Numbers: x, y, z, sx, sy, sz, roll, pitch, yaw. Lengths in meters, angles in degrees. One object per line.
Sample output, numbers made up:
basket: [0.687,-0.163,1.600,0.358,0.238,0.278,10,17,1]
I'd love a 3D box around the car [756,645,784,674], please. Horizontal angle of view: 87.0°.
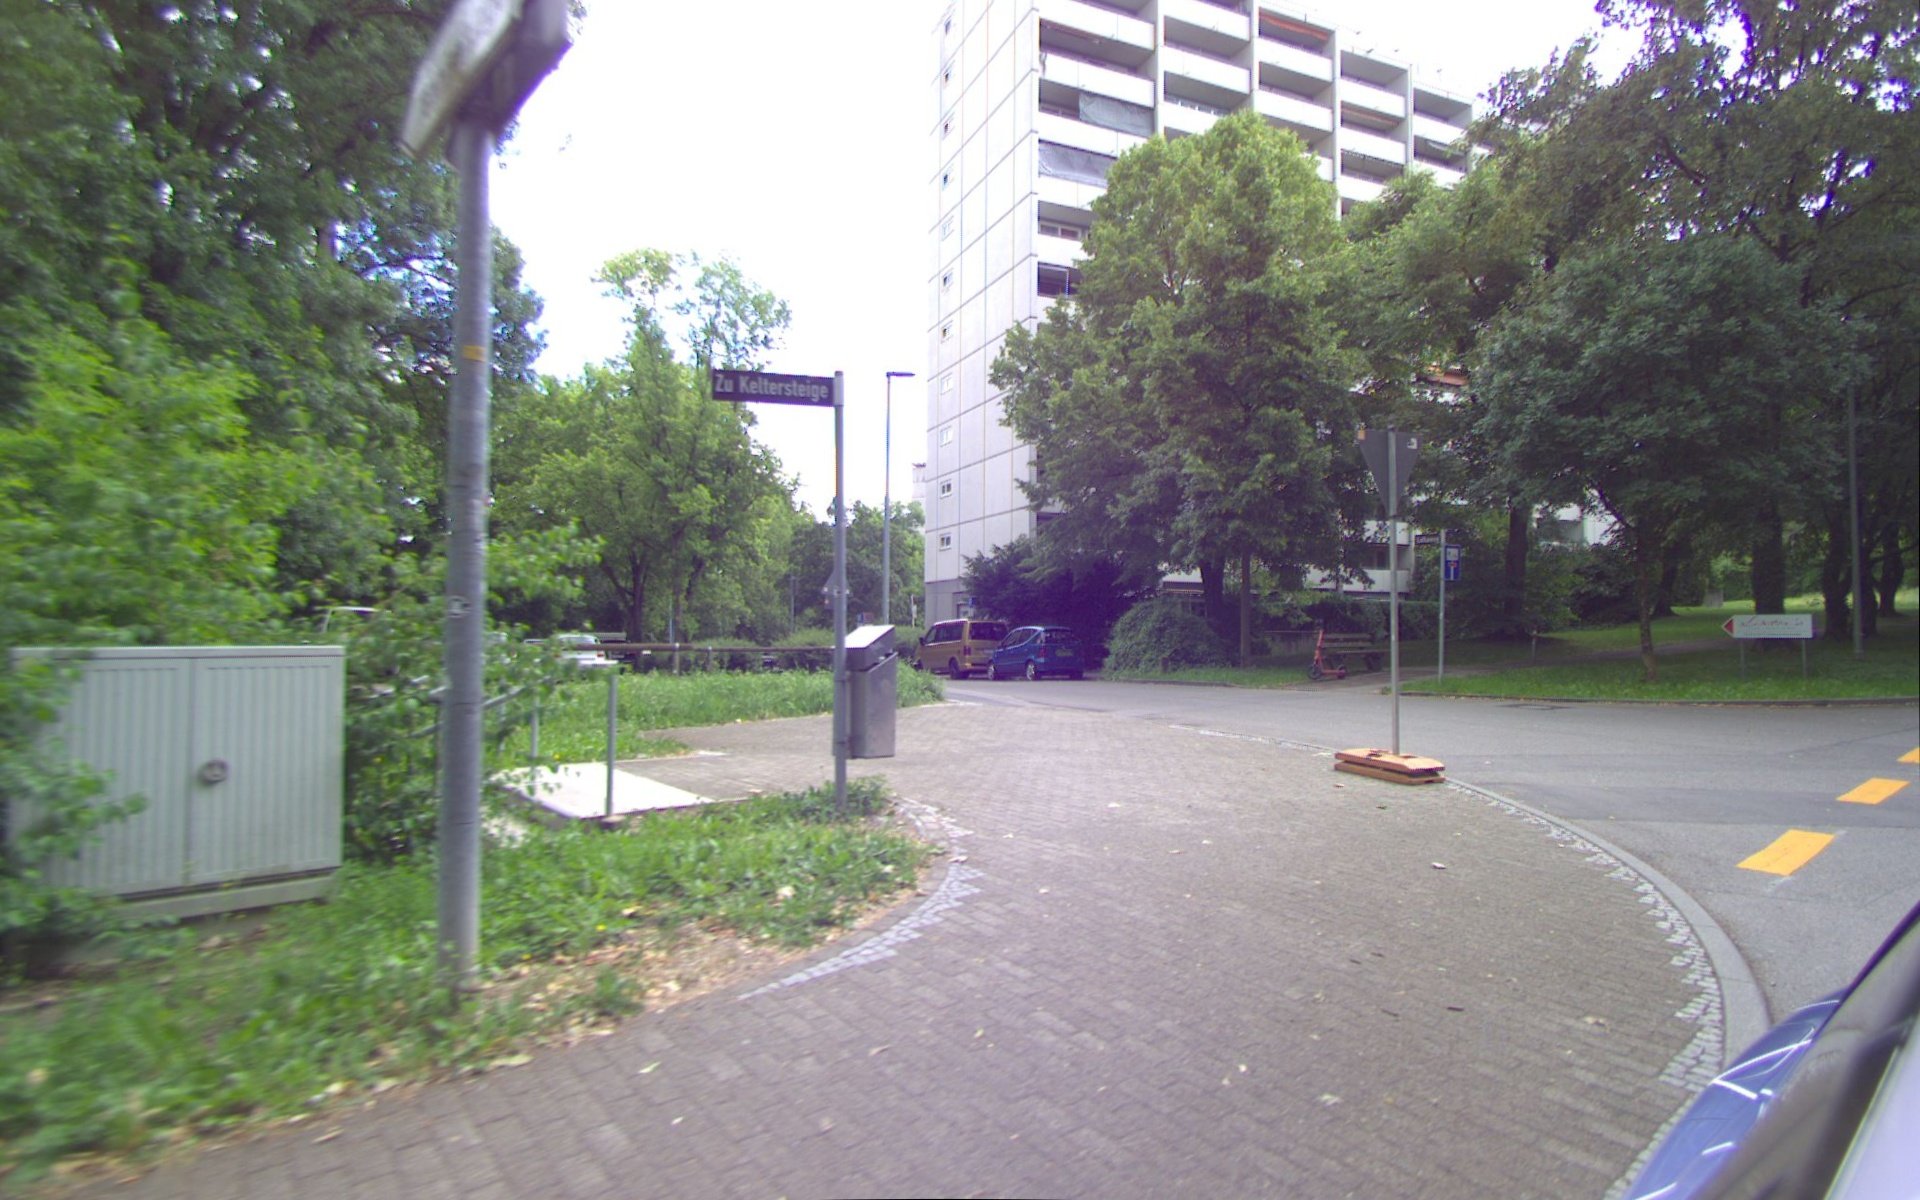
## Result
car: [-13.444,4.174,71.690,1.795,1.872,4.417,-1,-1,-9]

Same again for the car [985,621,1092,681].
car: [2.221,1.429,29.645,1.794,1.590,3.534,-1,-1,-20]

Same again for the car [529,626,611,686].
car: [-11.522,1.579,29.751,1.763,1.518,4.224,-1,0,-28]

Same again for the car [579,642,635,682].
car: [-15.917,2.743,45.525,1.763,1.518,4.224,-1,0,-28]

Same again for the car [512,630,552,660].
car: [-24.564,2.555,58.046,1.763,1.518,4.224,-1,0,-28]

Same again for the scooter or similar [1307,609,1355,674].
scooter or similar: [7.740,0.861,21.107,1.086,1.303,0.284,-1,-1,-31]

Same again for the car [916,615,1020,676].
car: [0.192,1.471,34.011,1.794,1.872,4.417,-1,-1,-24]

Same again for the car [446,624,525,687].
car: [-13.256,1.472,28.148,1.763,1.518,4.224,-1,0,-28]

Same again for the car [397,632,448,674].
car: [-22.325,2.180,42.079,1.795,1.590,3.532,-1,-1,-28]

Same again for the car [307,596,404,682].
car: [-15.852,0.958,26.732,1.960,2.039,4.224,-1,0,-28]
